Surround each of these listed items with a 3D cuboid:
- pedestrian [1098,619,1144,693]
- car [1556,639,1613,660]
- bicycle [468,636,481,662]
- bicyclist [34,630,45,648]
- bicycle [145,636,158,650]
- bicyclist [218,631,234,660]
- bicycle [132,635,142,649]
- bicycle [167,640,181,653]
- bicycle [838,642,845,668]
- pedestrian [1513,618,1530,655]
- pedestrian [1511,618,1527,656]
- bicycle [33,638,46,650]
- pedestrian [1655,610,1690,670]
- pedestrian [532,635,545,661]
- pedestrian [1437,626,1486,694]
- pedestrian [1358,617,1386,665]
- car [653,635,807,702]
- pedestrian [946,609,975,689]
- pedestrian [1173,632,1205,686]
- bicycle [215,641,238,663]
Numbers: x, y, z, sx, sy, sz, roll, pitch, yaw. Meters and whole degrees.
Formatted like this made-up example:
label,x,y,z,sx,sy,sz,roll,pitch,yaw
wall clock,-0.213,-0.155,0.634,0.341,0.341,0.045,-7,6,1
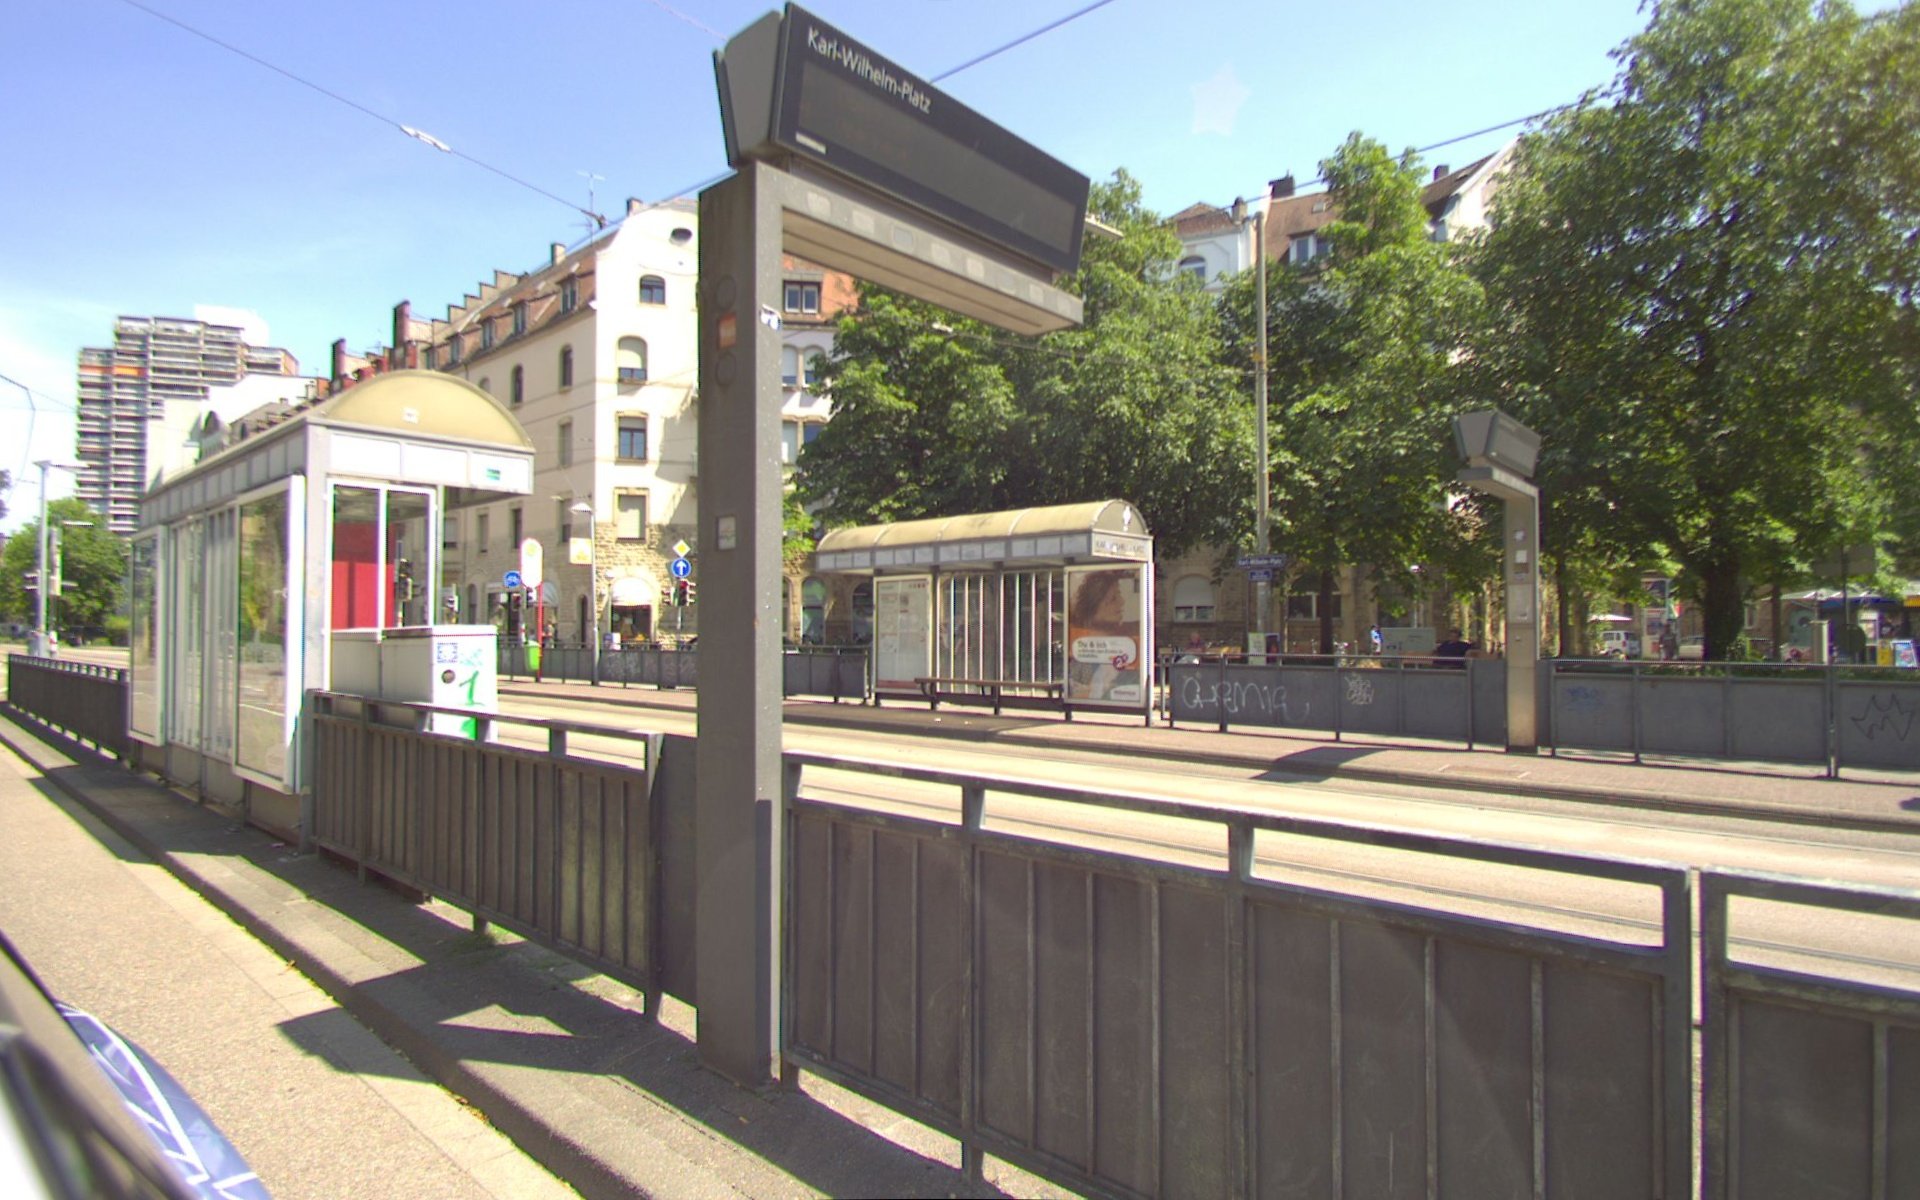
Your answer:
label,x,y,z,sx,sy,sz,roll,pitch,yaw
pedestrian,3.602,1.245,22.651,0.772,1.618,0.673,-1,-1,38
car,26.801,2.109,43.489,1.899,0.872,0.856,-1,-1,17
bicycle,-23.680,2.373,49.344,0.447,1.234,2.086,0,-1,-29
bicyclist,-84.853,3.586,93.296,0.579,1.676,0.603,-2,-3,41
bicycle,-62.124,3.296,77.754,2.046,1.105,0.487,-2,-2,42
bicyclist,-40.397,2.513,55.702,0.585,1.586,0.602,-1,-2,42
bicycle,-65.782,3.357,80.862,1.899,1.054,0.286,-1,-2,42
bicycle,-55.773,3.294,71.831,1.953,0.955,0.457,-2,-2,42
bicycle,-4.881,2.260,41.755,0.286,0.981,1.675,0,-1,-6
pedestrian,24.999,1.631,45.062,0.560,1.635,0.507,-1,-2,41
pedestrian,24.651,1.625,44.643,0.526,1.635,0.491,-1,-2,41
bicycle,-84.958,4.058,93.381,2.185,1.083,0.637,-2,-3,42
pedestrian,24.495,1.386,34.790,0.801,2.029,0.717,1,-3,-38
pedestrian,-18.975,2.145,45.585,0.405,1.157,0.401,-1,-1,38
pedestrian,9.810,1.164,19.797,0.637,1.297,0.618,0,-1,2
pedestrian,15.373,1.518,37.795,0.606,1.764,0.719,0,-1,-25
car,-5.294,1.502,23.071,3.716,1.349,1.525,-1,-1,40
pedestrian,0.014,1.169,24.449,0.504,1.893,0.494,1,-2,-44
pedestrian,5.430,1.385,23.997,0.637,1.265,0.549,0,-1,2
bicycle,-40.339,2.864,55.641,1.977,1.166,0.621,-2,-2,42
